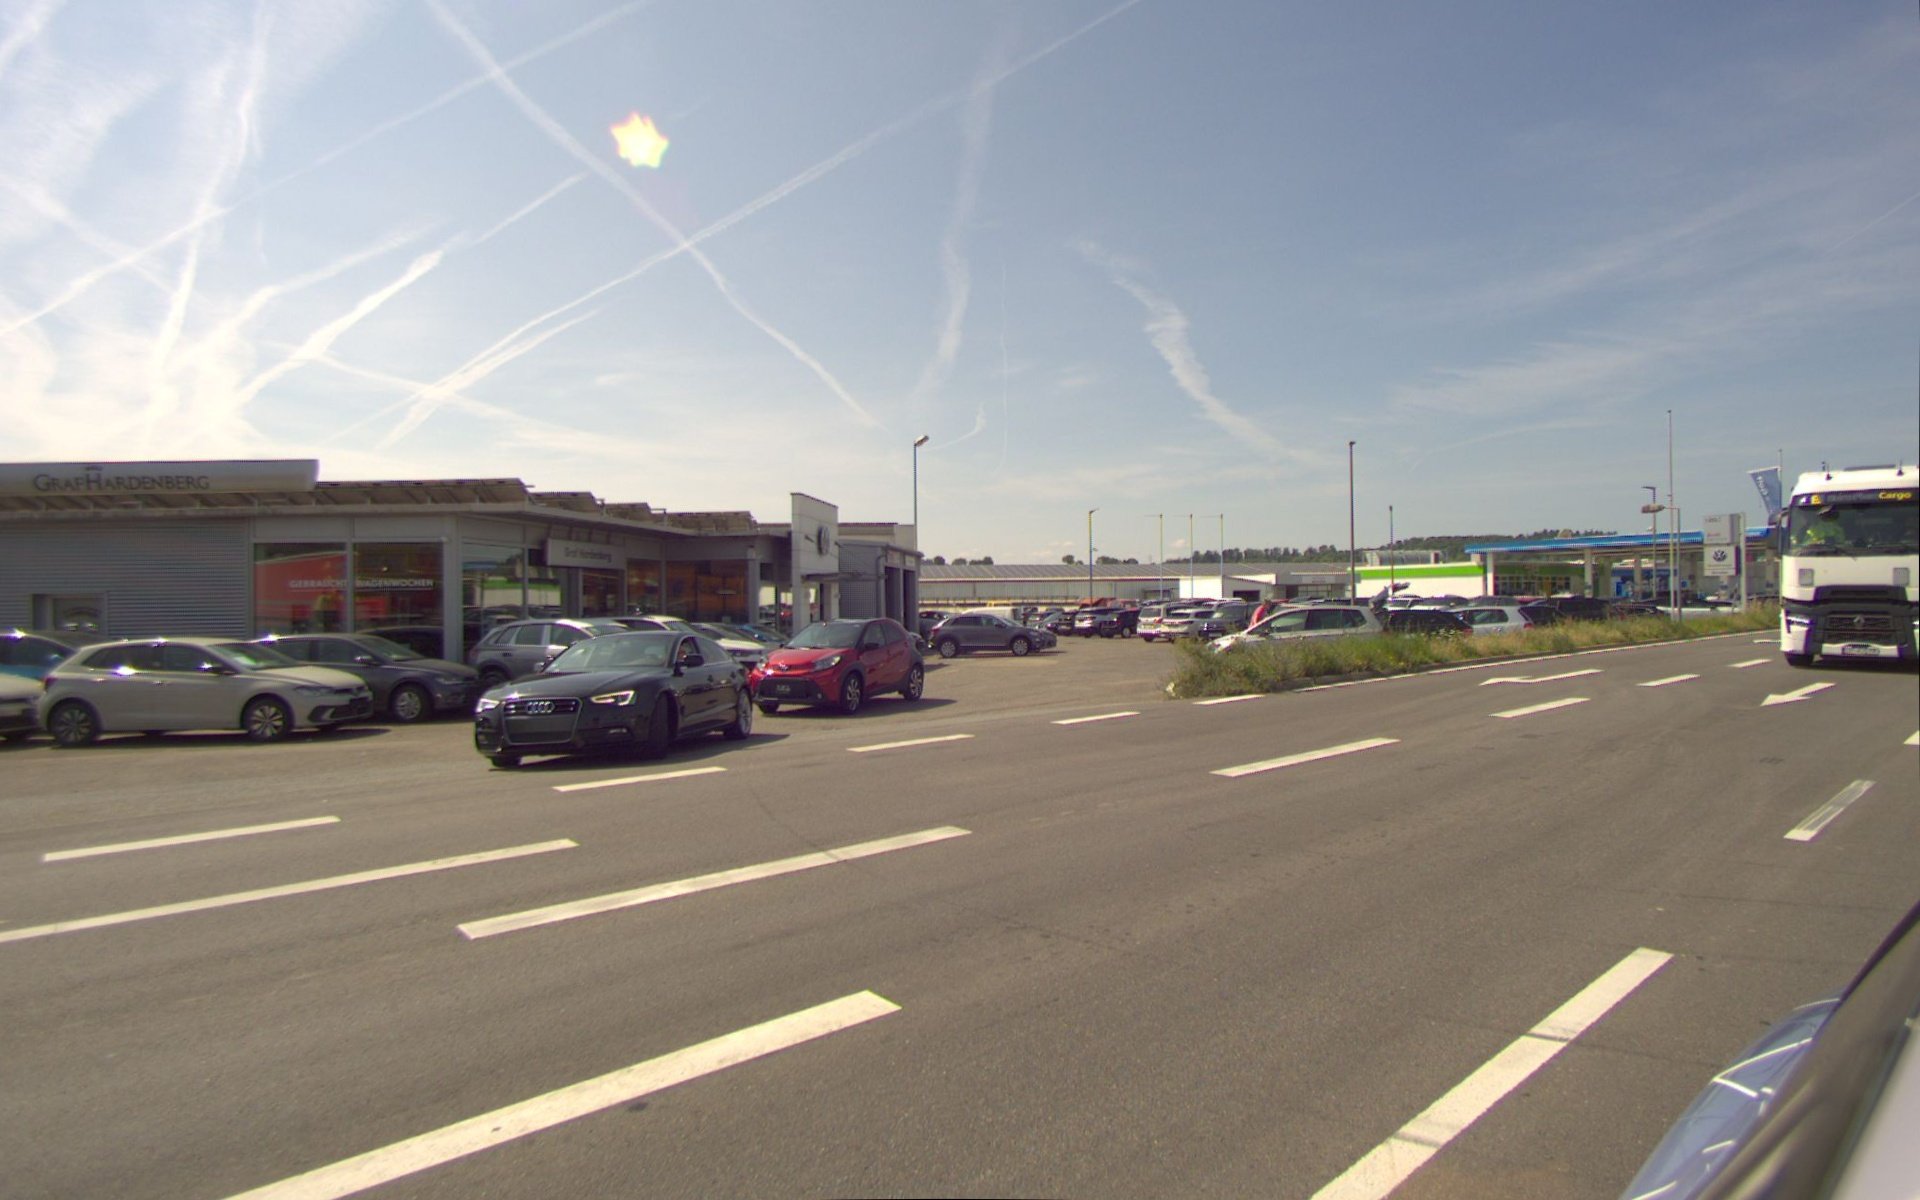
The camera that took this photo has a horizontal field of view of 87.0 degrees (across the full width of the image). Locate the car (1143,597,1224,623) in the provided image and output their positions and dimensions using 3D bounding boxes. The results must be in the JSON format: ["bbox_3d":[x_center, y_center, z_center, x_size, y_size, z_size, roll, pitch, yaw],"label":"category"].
[{"bbox_3d":[13.376,0.553,60.647,4.442,1.493,1.827,0,1,-19],"label":"car"}]

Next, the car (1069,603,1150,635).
[{"bbox_3d":[8.257,1.015,55.670,4.453,1.675,1.775,0,1,-37],"label":"car"}]

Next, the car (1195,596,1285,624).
[{"bbox_3d":[15.047,0.508,54.383,4.390,1.449,1.827,0,1,-19],"label":"car"}]

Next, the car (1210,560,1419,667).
[{"bbox_3d":[7.912,0.266,22.827,4.294,2.240,1.752,0,0,20],"label":"car"}]

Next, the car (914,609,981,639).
[{"bbox_3d":[-0.795,1.464,62.835,3.899,1.751,1.953,1,1,43],"label":"car"}]

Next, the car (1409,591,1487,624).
[{"bbox_3d":[25.844,0.379,53.554,4.452,1.675,1.776,0,1,-36],"label":"car"}]

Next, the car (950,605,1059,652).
[{"bbox_3d":[1.725,1.064,38.595,4.009,1.675,1.772,0,0,8],"label":"car"}]

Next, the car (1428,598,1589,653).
[{"bbox_3d":[16.521,0.733,30.656,3.941,1.572,1.768,0,0,14],"label":"car"}]

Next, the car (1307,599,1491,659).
[{"bbox_3d":[11.536,0.725,26.885,4.285,1.470,1.766,0,0,18],"label":"car"}]

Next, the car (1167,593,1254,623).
[{"bbox_3d":[14.013,0.438,56.705,4.442,1.603,1.827,0,0,-19],"label":"car"}]

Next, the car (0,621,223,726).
[{"bbox_3d":[-14.436,1.138,16.246,3.881,1.537,1.778,0,0,-5],"label":"car"}]

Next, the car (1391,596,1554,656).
[{"bbox_3d":[14.418,0.704,28.721,3.952,1.578,1.700,0,0,22],"label":"car"}]

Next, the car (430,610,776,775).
[{"bbox_3d":[-3.682,0.942,11.541,1.931,1.350,4.809,-4,-3,4],"label":"car"}]

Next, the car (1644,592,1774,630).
[{"bbox_3d":[34.194,0.478,46.374,4.489,1.675,1.761,0,0,25],"label":"car"}]

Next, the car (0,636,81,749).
[{"bbox_3d":[-15.071,1.279,14.046,4.071,1.468,1.798,0,0,-5],"label":"car"}]

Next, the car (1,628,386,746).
[{"bbox_3d":[-10.913,1.201,14.668,4.179,1.510,1.751,0,0,-5],"label":"car"}]

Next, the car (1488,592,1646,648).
[{"bbox_3d":[19.141,0.600,32.107,3.945,1.675,1.767,0,0,17],"label":"car"}]

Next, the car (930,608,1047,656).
[{"bbox_3d":[1.047,1.113,35.952,4.007,1.629,1.690,0,-1,8],"label":"car"}]

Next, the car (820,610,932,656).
[{"bbox_3d":[-3.172,1.245,38.645,4.095,1.675,1.775,0,0,4],"label":"car"}]

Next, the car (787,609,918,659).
[{"bbox_3d":[-3.815,1.202,36.366,4.467,1.675,1.775,0,0,4],"label":"car"}]

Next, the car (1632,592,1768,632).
[{"bbox_3d":[32.300,0.503,44.336,4.487,1.675,1.762,0,0,24],"label":"car"}]

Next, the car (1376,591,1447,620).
[{"bbox_3d":[27.297,0.283,61.134,4.449,1.675,1.777,0,1,-32],"label":"car"}]

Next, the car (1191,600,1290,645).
[{"bbox_3d":[11.548,0.871,41.471,4.464,1.675,1.964,-1,1,-45],"label":"car"}]

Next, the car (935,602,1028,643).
[{"bbox_3d":[1.123,1.126,52.301,4.484,1.973,1.763,0,0,22],"label":"car"}]

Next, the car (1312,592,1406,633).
[{"bbox_3d":[17.248,0.497,43.682,4.455,1.675,1.775,0,1,-38],"label":"car"}]

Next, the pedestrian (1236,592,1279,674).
[{"bbox_3d":[7.220,0.775,24.580,0.974,1.936,0.740,0,0,15],"label":"pedestrian"}]

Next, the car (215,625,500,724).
[{"bbox_3d":[-9.924,1.193,16.911,3.719,1.495,1.752,0,0,-5],"label":"car"}]

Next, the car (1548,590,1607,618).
[{"bbox_3d":[38.765,0.222,63.517,4.179,1.734,1.714,0,1,-36],"label":"car"}]

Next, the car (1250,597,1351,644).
[{"bbox_3d":[13.386,0.738,39.641,4.633,1.675,1.903,-1,1,-45],"label":"car"}]

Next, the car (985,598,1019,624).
[{"bbox_3d":[3.302,0.862,80.473,2.167,1.955,4.164,0,1,-4],"label":"car"}]

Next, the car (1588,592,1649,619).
[{"bbox_3d":[39.997,0.316,61.473,4.070,1.600,1.776,0,1,-36],"label":"car"}]

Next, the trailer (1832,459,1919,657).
[{"bbox_3d":[24.767,-0.949,25.580,11.095,4.281,2.611,-1,1,-41],"label":"trailer"}]

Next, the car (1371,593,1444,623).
[{"bbox_3d":[24.681,0.414,55.777,4.452,1.545,1.691,0,1,-36],"label":"car"}]

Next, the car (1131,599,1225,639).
[{"bbox_3d":[10.277,0.846,47.649,4.452,1.751,1.823,0,1,-36],"label":"car"}]

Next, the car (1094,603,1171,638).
[{"bbox_3d":[9.124,1.049,53.285,4.464,1.675,1.771,-1,1,-45],"label":"car"}]

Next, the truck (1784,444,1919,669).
[{"bbox_3d":[19.069,-0.816,20.602,5.937,4.037,2.645,0,0,-41],"label":"truck"}]

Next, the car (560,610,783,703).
[{"bbox_3d":[-5.772,1.079,20.460,3.939,1.692,1.914,0,0,13],"label":"car"}]

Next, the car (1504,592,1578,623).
[{"bbox_3d":[31.426,0.395,54.682,4.452,1.600,1.776,0,1,-36],"label":"car"}]

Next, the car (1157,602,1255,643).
[{"bbox_3d":[10.916,0.963,44.862,4.453,1.675,1.776,0,1,-36],"label":"car"}]

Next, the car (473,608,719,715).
[{"bbox_3d":[-6.517,1.028,18.186,3.973,1.692,1.765,0,0,19],"label":"car"}]

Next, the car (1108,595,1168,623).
[{"bbox_3d":[11.694,0.614,66.964,2.025,1.676,4.545,0,-3,-17],"label":"car"}]

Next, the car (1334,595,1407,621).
[{"bbox_3d":[23.494,0.430,57.806,4.452,1.459,1.776,0,1,-36],"label":"car"}]

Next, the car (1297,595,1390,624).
[{"bbox_3d":[20.606,0.478,54.507,1.910,1.477,4.543,0,1,-29],"label":"car"}]

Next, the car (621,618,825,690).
[{"bbox_3d":[-5.308,1.176,22.941,4.141,1.475,1.890,0,0,9],"label":"car"}]

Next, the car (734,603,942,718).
[{"bbox_3d":[-1.964,0.947,17.511,1.756,1.675,4.045,-2,0,23],"label":"car"}]

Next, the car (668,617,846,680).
[{"bbox_3d":[-5.070,1.178,25.473,4.045,1.428,1.819,0,0,9],"label":"car"}]

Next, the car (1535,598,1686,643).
[{"bbox_3d":[24.422,0.737,38.182,4.478,1.600,1.766,0,0,19],"label":"car"}]
